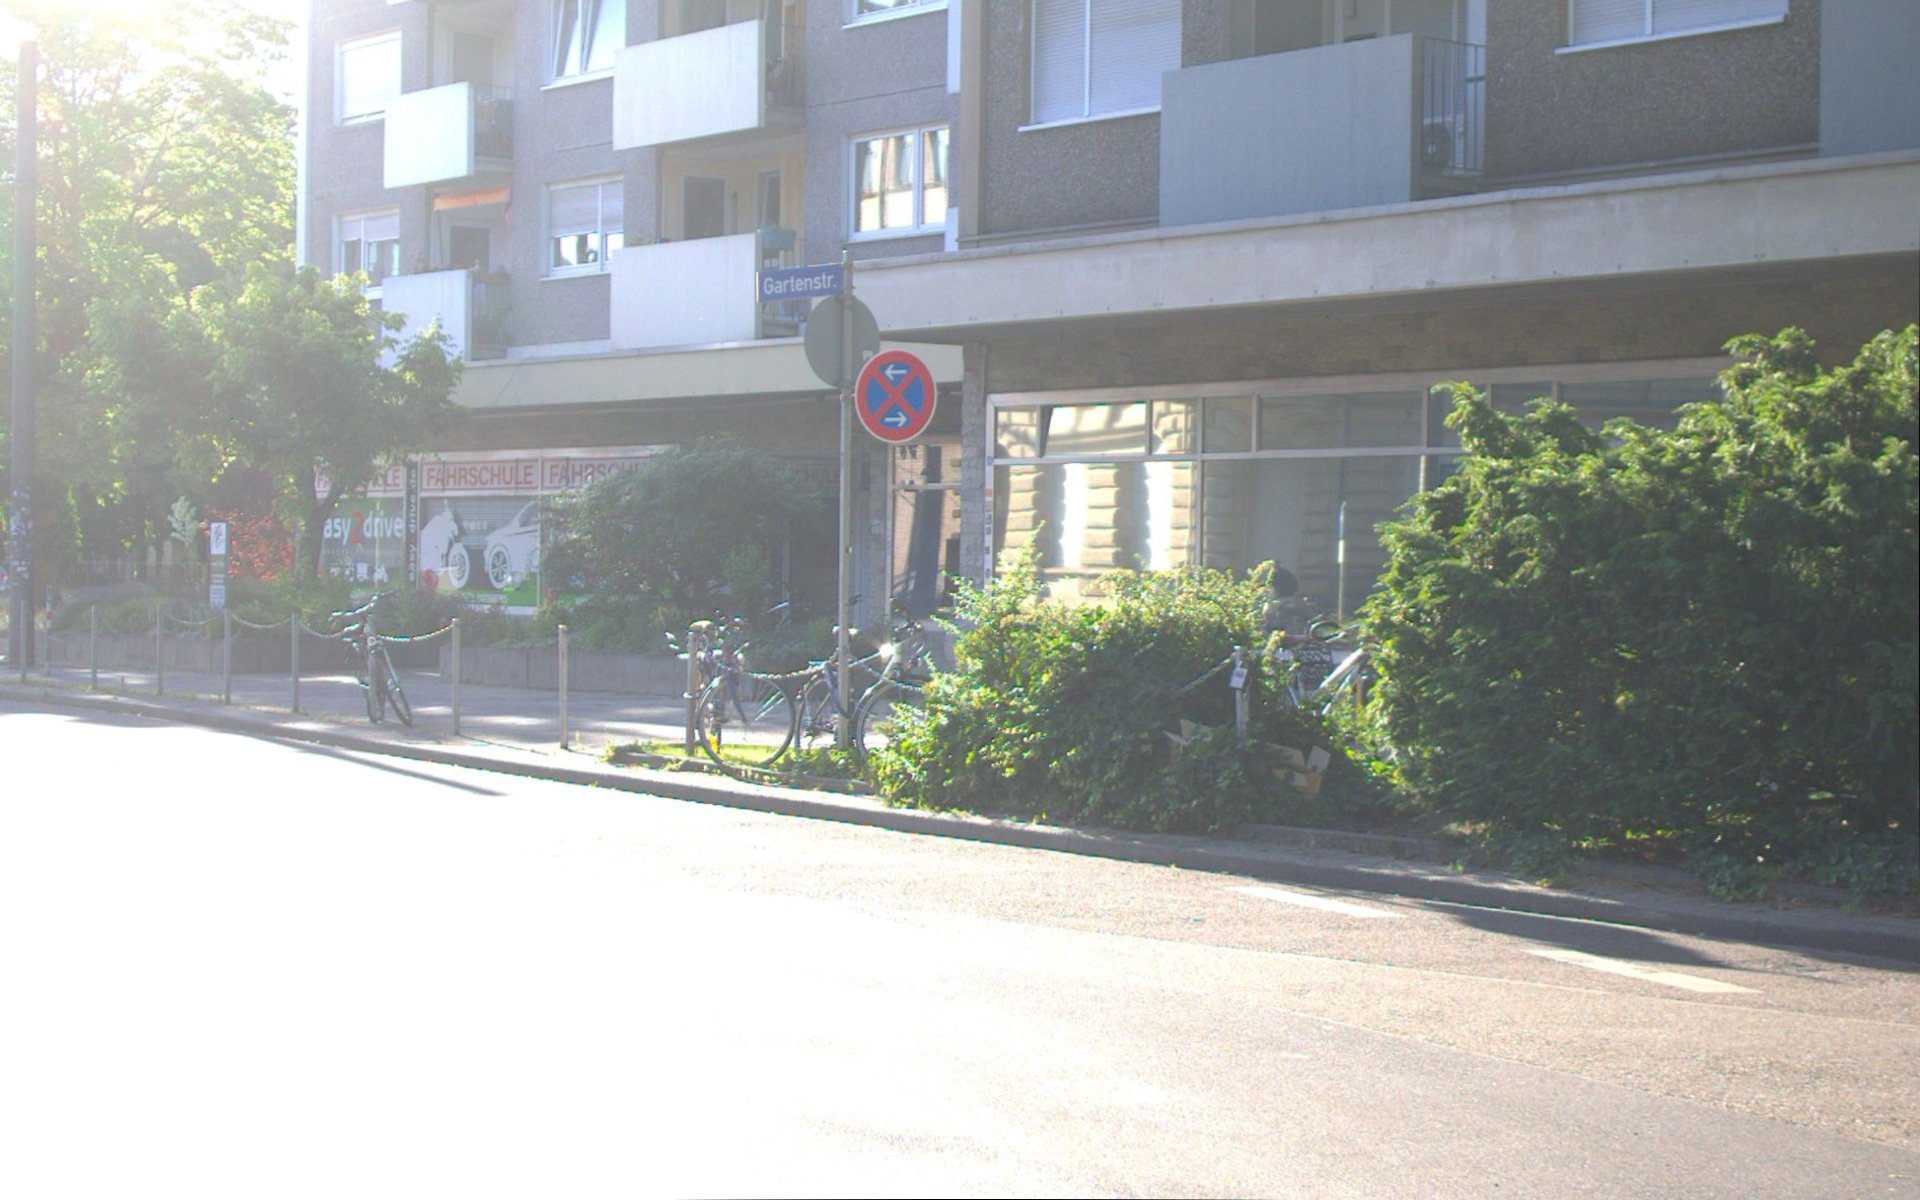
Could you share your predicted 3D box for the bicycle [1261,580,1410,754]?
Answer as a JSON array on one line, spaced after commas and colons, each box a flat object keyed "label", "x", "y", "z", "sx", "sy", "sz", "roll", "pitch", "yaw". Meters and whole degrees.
[{"label": "bicycle", "x": 2.306, "y": 0.399, "z": 21.200, "sx": 0.348, "sy": 1.034, "sz": 1.052, "roll": 0, "pitch": 1, "yaw": -31}]

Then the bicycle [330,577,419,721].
[{"label": "bicycle", "x": -5.255, "y": 0.416, "z": 30.780, "sx": 0.638, "sy": 1.222, "sz": 2.089, "roll": 0, "pitch": 1, "yaw": -14}]

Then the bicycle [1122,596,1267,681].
[{"label": "bicycle", "x": 2.563, "y": 0.410, "z": 37.695, "sx": 0.642, "sy": 0.896, "sz": 1.651, "roll": 0, "pitch": 1, "yaw": -38}]

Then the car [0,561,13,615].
[{"label": "car", "x": -27.367, "y": -0.336, "z": 91.643, "sx": 3.986, "sy": 1.448, "sz": 1.810, "roll": 0, "pitch": 1, "yaw": -19}]

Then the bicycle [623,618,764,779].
[{"label": "bicycle", "x": -1.855, "y": 0.653, "z": 23.655, "sx": 0.638, "sy": 1.019, "sz": 2.089, "roll": 0, "pitch": 1, "yaw": -14}]

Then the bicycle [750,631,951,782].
[{"label": "bicycle", "x": -0.724, "y": 0.669, "z": 22.208, "sx": 0.542, "sy": 0.901, "sz": 1.736, "roll": 0, "pitch": 1, "yaw": -30}]
